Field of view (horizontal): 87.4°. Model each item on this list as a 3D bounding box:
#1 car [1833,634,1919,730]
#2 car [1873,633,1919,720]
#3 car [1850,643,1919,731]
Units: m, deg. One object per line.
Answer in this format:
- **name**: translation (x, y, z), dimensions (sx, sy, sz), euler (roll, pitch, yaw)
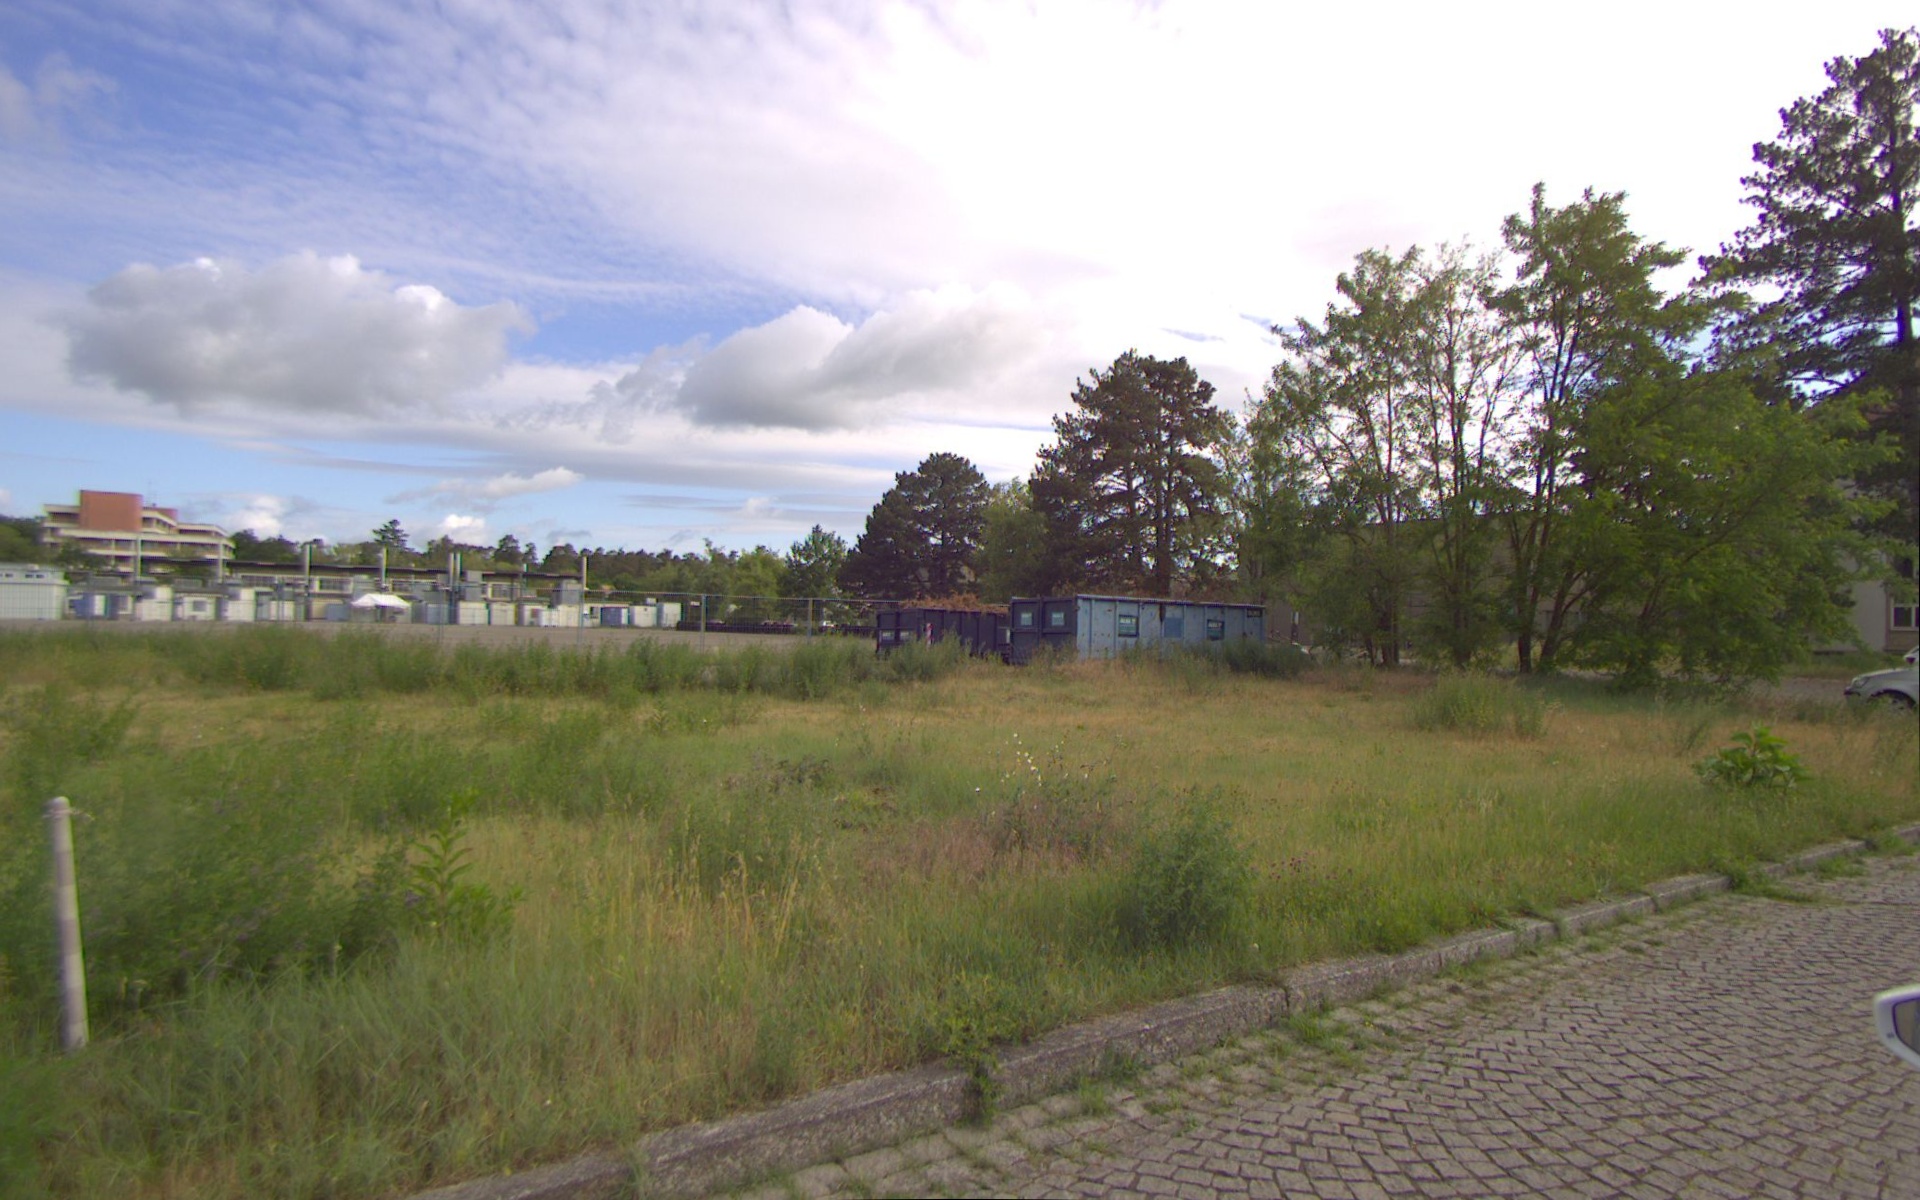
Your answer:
- **car**: translation (16.838, 1.423, 16.315), dimensions (1.656, 1.500, 3.697), euler (2, 1, -34)
- **car**: translation (20.996, 1.555, 19.760), dimensions (1.637, 1.755, 4.268), euler (2, -2, -36)
- **car**: translation (18.881, 1.588, 17.893), dimensions (1.795, 1.574, 4.266), euler (2, -2, -37)
